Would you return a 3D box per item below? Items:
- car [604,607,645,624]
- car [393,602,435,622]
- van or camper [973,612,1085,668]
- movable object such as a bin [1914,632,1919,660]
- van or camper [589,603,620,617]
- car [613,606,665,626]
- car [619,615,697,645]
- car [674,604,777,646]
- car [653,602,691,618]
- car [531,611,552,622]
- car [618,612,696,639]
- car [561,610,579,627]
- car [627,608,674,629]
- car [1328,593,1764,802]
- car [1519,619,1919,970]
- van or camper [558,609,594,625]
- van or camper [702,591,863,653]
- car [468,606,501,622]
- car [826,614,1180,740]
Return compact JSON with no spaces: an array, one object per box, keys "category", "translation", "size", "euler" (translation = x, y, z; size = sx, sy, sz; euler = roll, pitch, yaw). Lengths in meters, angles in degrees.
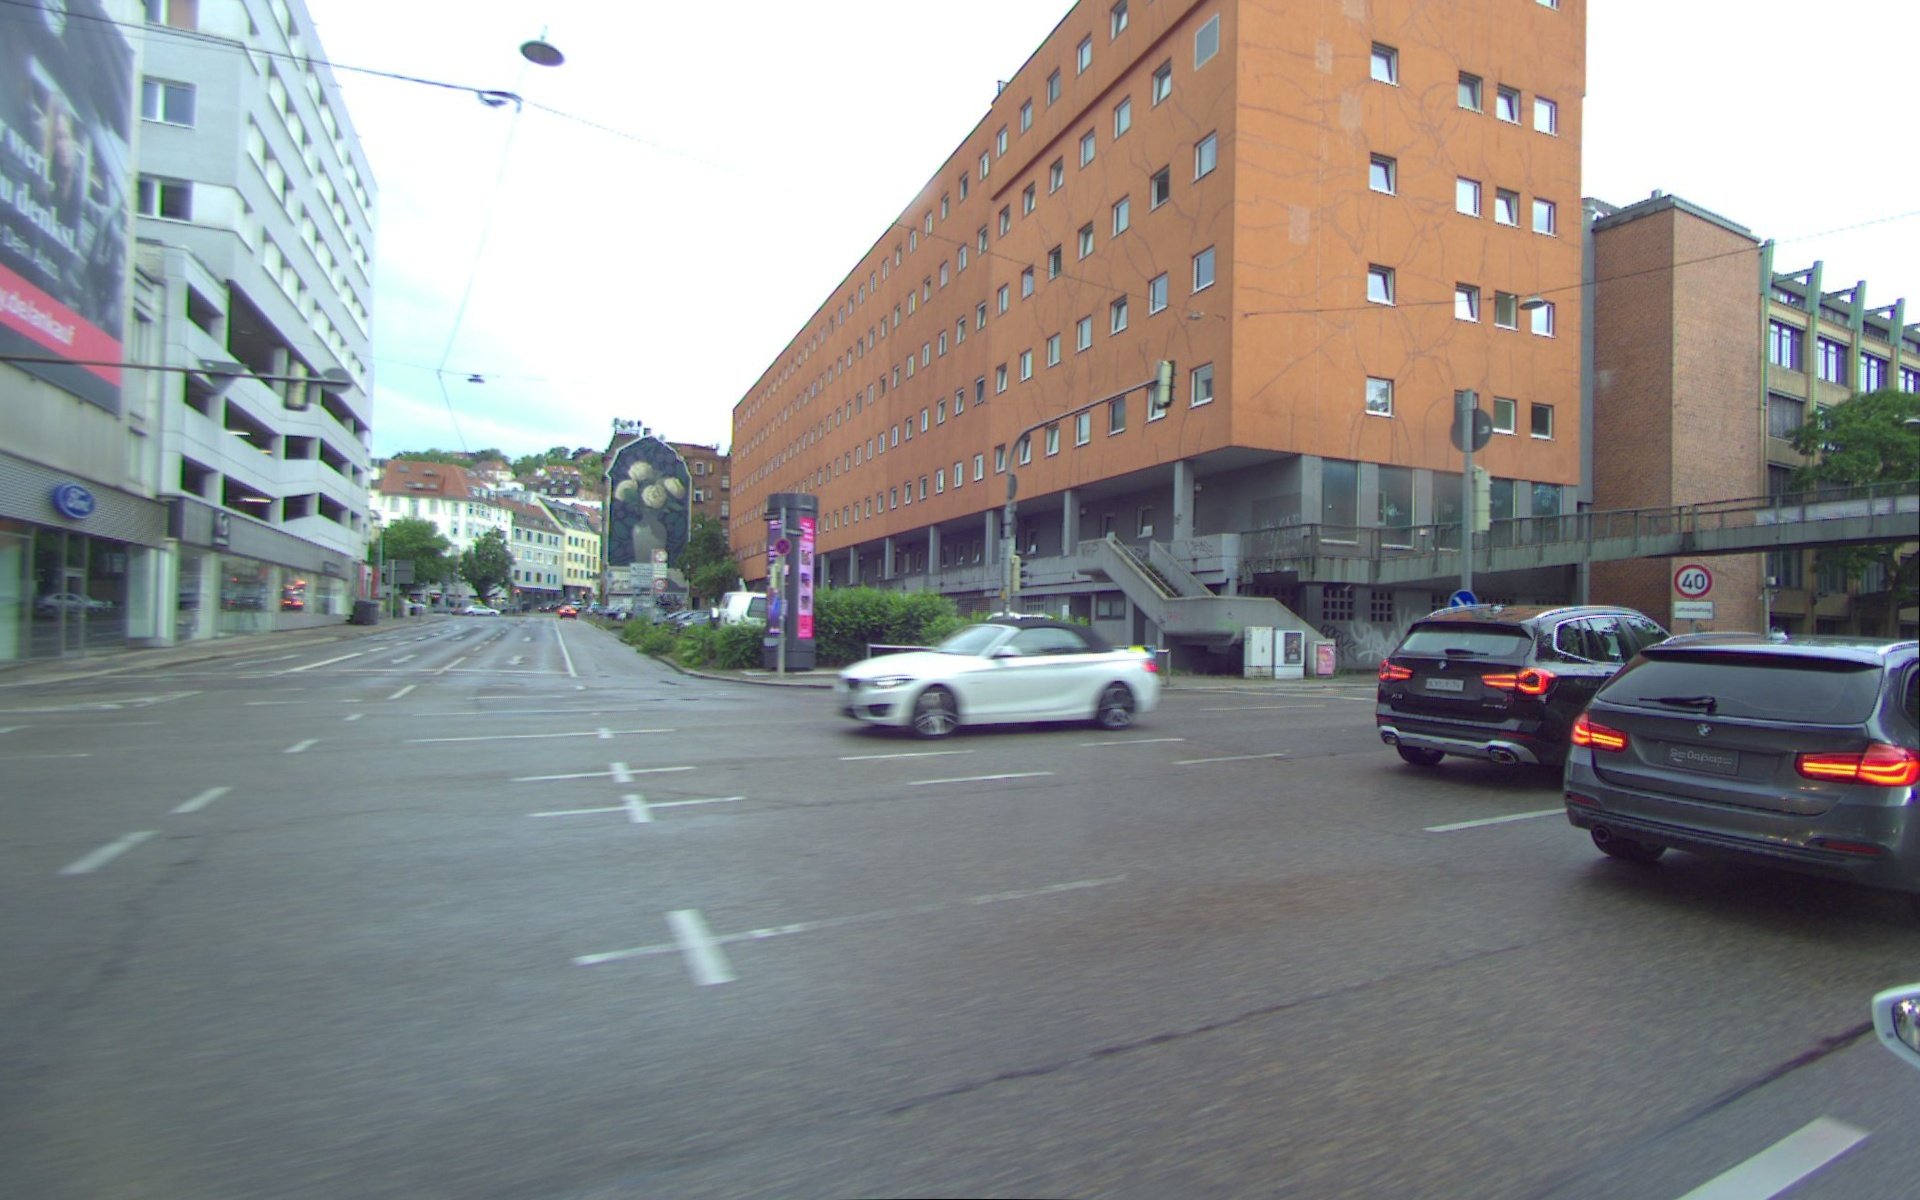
[{"category":"car","translation":[-34.582,1.567,103.428],"size":[3.919,1.583,1.768],"euler":[2,1,-21]},{"category":"car","translation":[-55.361,1.236,101.912],"size":[3.683,1.885,1.828],"euler":[1,-1,-30]},{"category":"van or camper","translation":[2.100,1.217,31.753],"size":[1.888,1.649,3.976],"euler":[1,-1,-24]},{"category":"movable object such as a bin","translation":[54.421,2.602,56.158],"size":[1.258,1.538,1.276],"euler":[1,-1,-30]},{"category":"van or camper","translation":[-56.508,1.621,159.848],"size":[4.555,2.040,1.990],"euler":[2,1,-21]},{"category":"car","translation":[-26.274,1.336,82.180],"size":[3.921,1.459,1.767],"euler":[2,1,-22]},{"category":"car","translation":[-14.644,1.455,48.826],"size":[3.460,1.311,1.531],"euler":[2,-1,-13]},{"category":"car","translation":[-10.037,1.078,43.076],"size":[4.030,1.633,1.705],"euler":[2,1,-24]},{"category":"car","translation":[-32.330,1.150,112.648],"size":[3.919,1.583,1.768],"euler":[2,1,-21]},{"category":"car","translation":[-72.596,2.842,174.264],"size":[1.859,1.808,3.572],"euler":[1,-1,2]},{"category":"car","translation":[-16.229,1.376,53.908],"size":[3.816,1.311,1.656],"euler":[2,-1,-13]},{"category":"car","translation":[-44.299,2.054,114.045],"size":[1.881,1.788,3.770],"euler":[2,0,-22]},{"category":"car","translation":[-22.355,1.313,72.577],"size":[3.126,1.372,1.394],"euler":[2,1,-21]},{"category":"car","translation":[6.010,0.877,10.199],"size":[4.391,1.678,1.801],"euler":[2,1,-29]},{"category":"car","translation":[5.627,0.918,6.204],"size":[4.424,1.477,1.768],"euler":[2,-1,-30]},{"category":"van or camper","translation":[-52.330,2.304,136.942],"size":[4.379,2.040,1.988],"euler":[2,1,-21]},{"category":"van or camper","translation":[-6.441,0.807,36.541],"size":[5.379,2.004,2.119],"euler":[2,1,-25]},{"category":"car","translation":[-62.811,1.821,132.653],"size":[3.892,1.960,1.938],"euler":[2,1,-26]},{"category":"car","translation":[0.623,0.958,13.154],"size":[4.353,1.412,1.822],"euler":[2,-2,-30]}]
